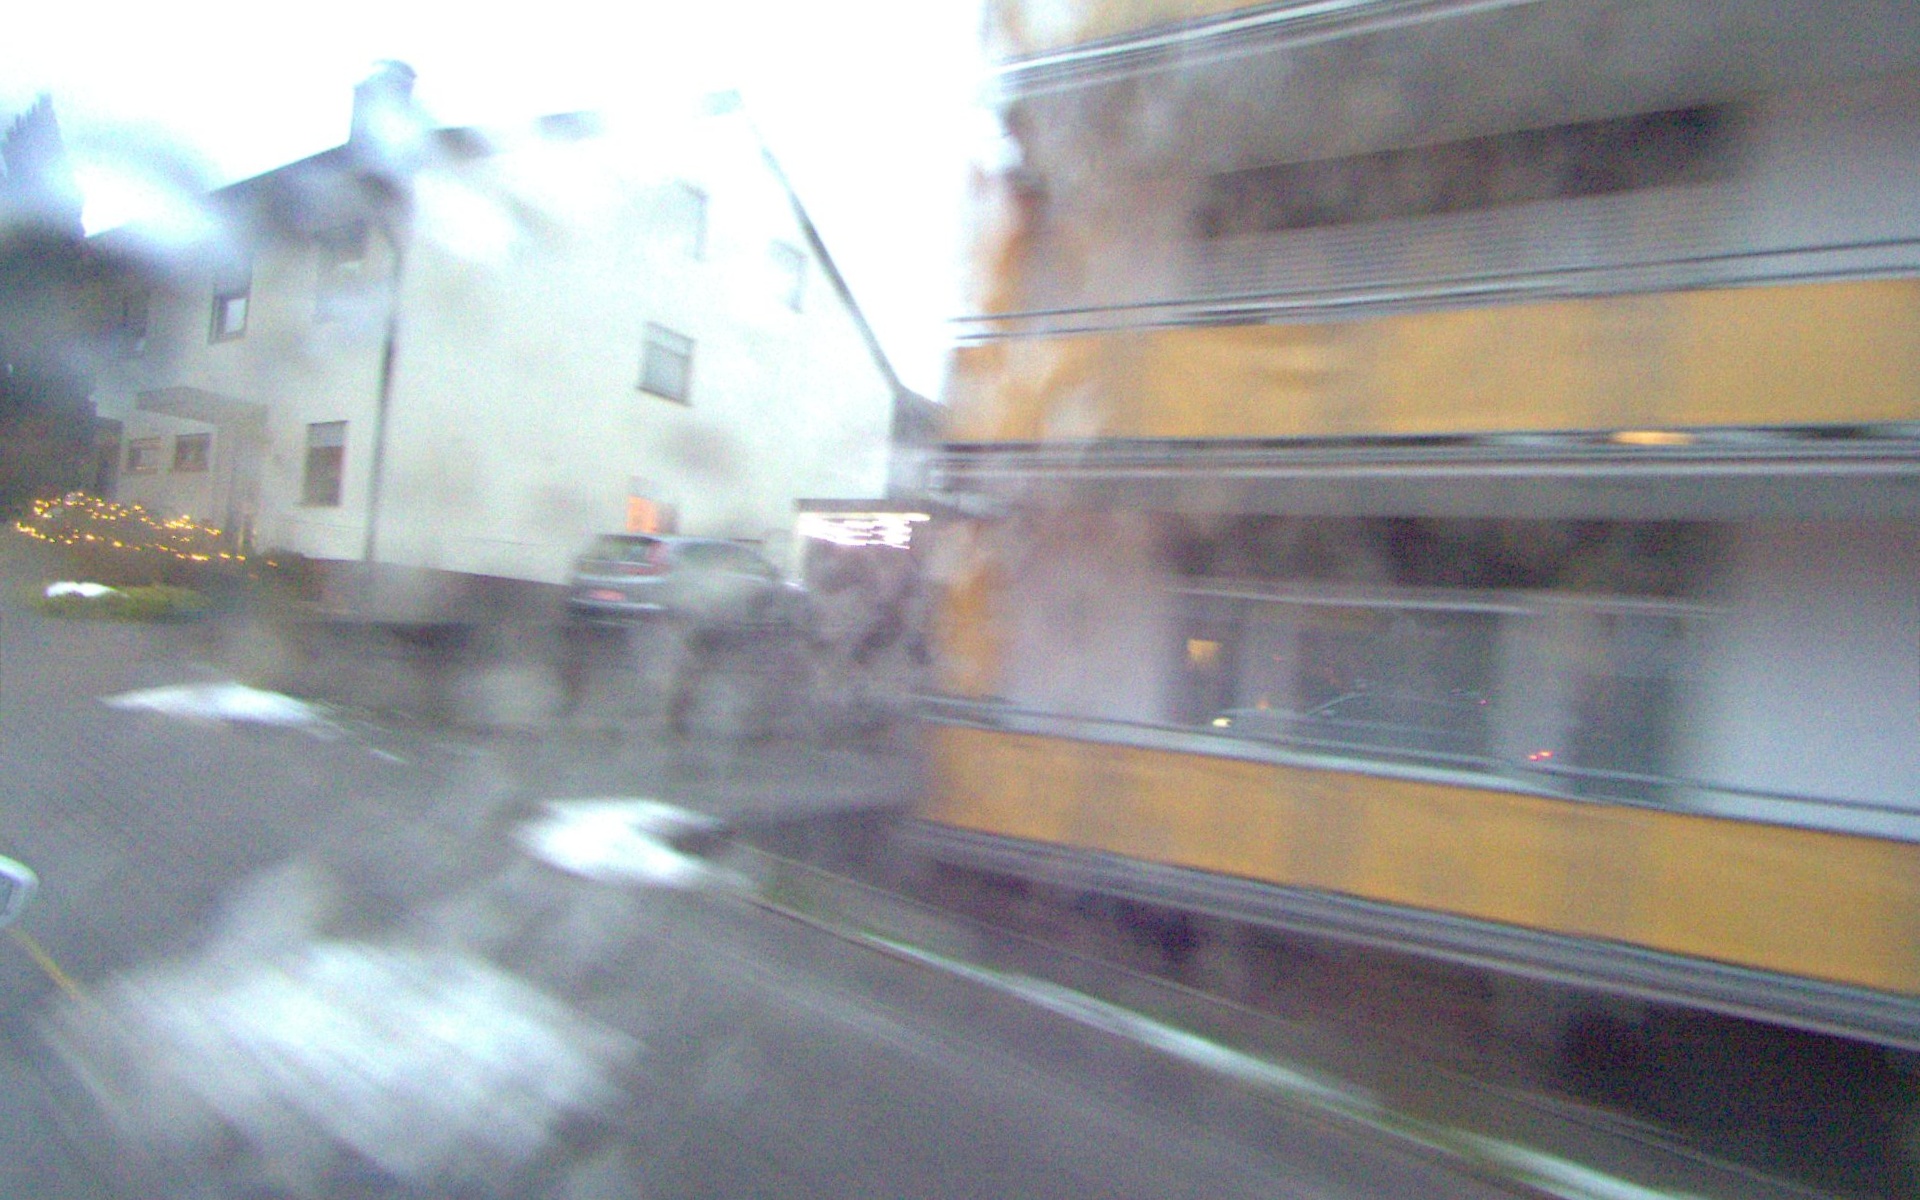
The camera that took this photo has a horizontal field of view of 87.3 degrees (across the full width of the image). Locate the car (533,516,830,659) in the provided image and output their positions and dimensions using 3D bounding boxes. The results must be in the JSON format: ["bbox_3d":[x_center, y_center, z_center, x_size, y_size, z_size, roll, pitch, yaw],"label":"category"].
[{"bbox_3d":[-3.992,-0.200,15.220,2.026,1.671,4.257,7,3,23],"label":"car"}]
